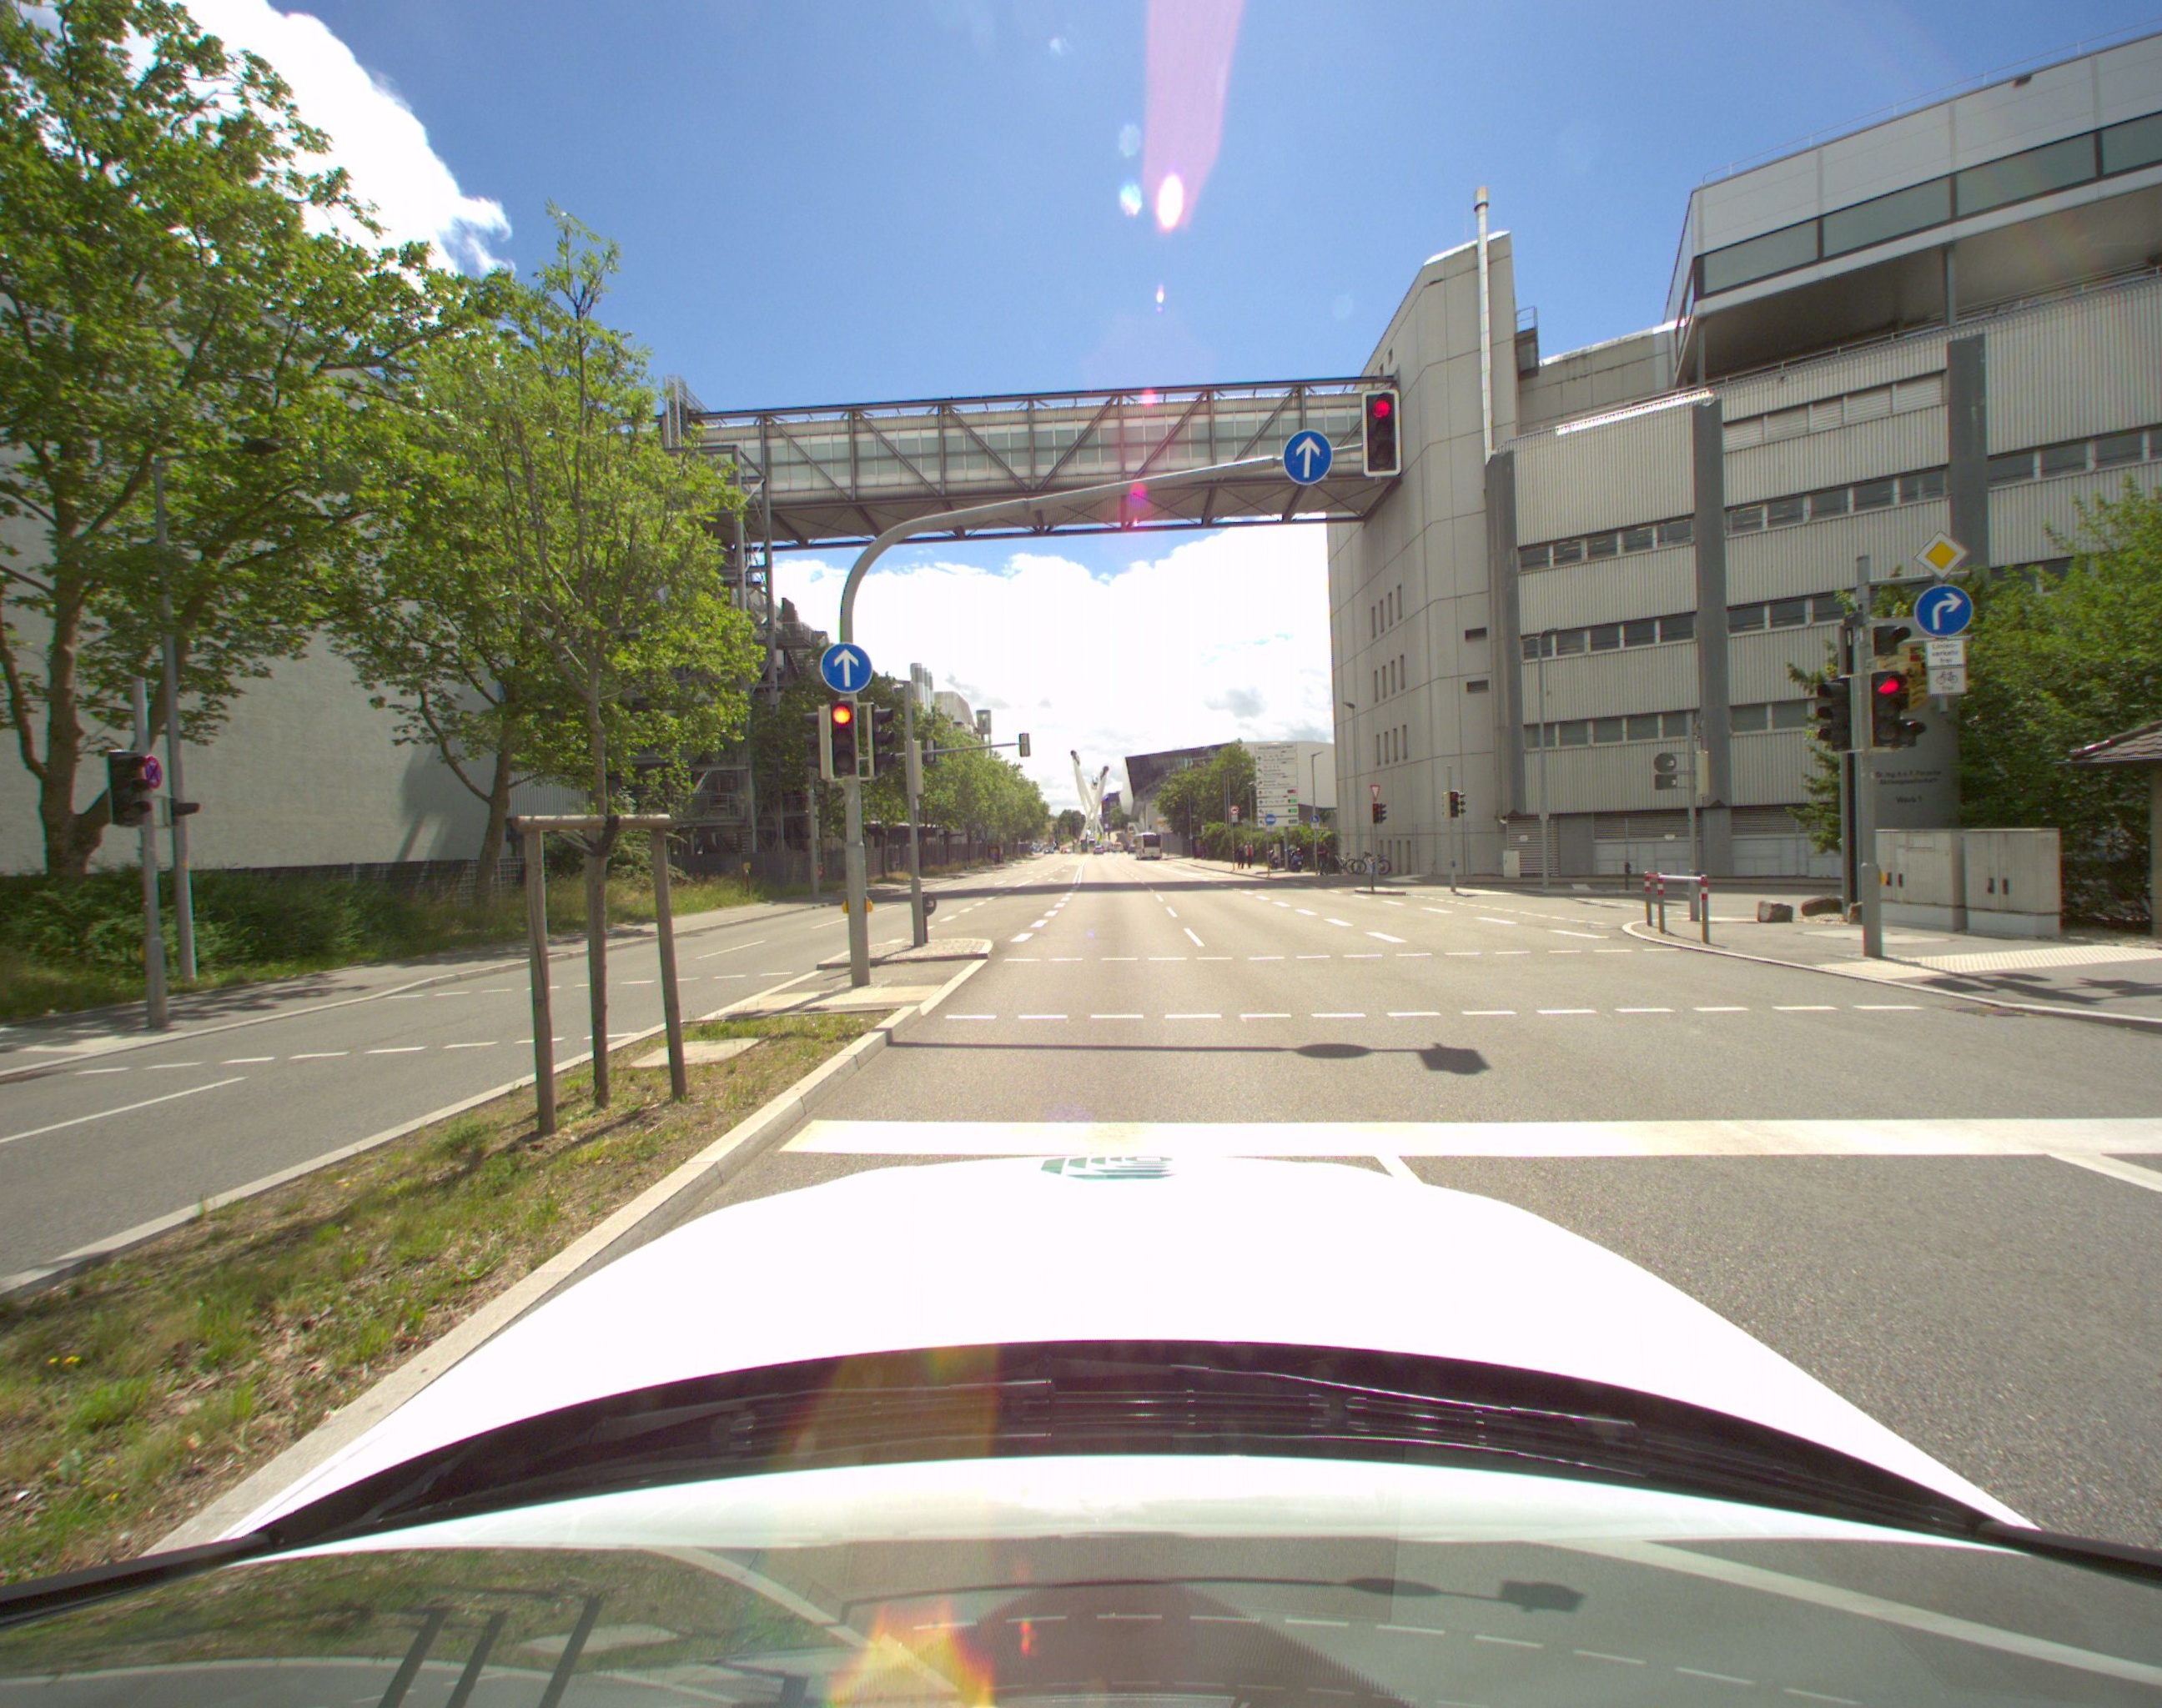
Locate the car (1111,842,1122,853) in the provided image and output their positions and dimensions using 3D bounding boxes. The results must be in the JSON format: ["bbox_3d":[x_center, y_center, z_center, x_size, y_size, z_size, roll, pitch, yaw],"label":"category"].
[{"bbox_3d":[7.287,-1.290,165.414,1.984,2.014,4.005,-1,-1,5],"label":"car"}]

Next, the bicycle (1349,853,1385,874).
[{"bbox_3d":[13.492,0.452,38.500,0.399,0.937,1.913,-1,0,-24],"label":"bicycle"}]

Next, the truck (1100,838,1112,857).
[{"bbox_3d":[5.318,-1.385,172.259,2.383,3.897,6.180,-1,0,2],"label":"truck"}]

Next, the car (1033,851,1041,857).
[{"bbox_3d":[-11.769,0.061,215.985,1.813,1.537,3.678,-3,0,0],"label":"car"}]

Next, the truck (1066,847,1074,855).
[{"bbox_3d":[-2.310,-0.616,174.039,1.580,1.537,3.673,-1,0,-4],"label":"truck"}]

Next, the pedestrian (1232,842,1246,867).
[{"bbox_3d":[10.674,0.029,55.073,0.817,1.707,0.881,-1,0,1],"label":"pedestrian"}]

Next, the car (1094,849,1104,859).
[{"bbox_3d":[3.283,-0.080,147.962,1.732,1.741,3.693,-1,0,2],"label":"car"}]

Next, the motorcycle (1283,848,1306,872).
[{"bbox_3d":[11.716,0.313,44.758,0.703,1.203,2.025,-3,1,2],"label":"motorcycle"}]

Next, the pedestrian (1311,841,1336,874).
[{"bbox_3d":[11.863,0.169,39.851,0.839,1.624,0.962,-1,0,43],"label":"pedestrian"}]

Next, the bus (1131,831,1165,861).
[{"bbox_3d":[8.402,-0.974,102.886,3.441,3.543,10.606,-1,0,0],"label":"bus"}]

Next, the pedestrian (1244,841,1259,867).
[{"bbox_3d":[11.506,-0.001,54.912,0.817,1.741,0.637,-1,0,1],"label":"pedestrian"}]

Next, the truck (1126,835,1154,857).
[{"bbox_3d":[12.535,-1.644,171.629,3.424,4.391,9.466,-1,0,19],"label":"truck"}]

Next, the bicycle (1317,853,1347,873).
[{"bbox_3d":[12.549,0.452,40.812,0.398,0.937,1.917,-1,0,-17],"label":"bicycle"}]

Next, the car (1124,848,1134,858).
[{"bbox_3d":[8.674,-0.153,147.258,1.732,1.741,3.693,-1,0,2],"label":"car"}]

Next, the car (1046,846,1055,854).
[{"bbox_3d":[-6.934,-0.889,185.739,1.814,1.537,3.675,-3,0,-2],"label":"car"}]

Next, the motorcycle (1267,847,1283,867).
[{"bbox_3d":[12.539,0.196,52.604,0.572,1.203,2.025,-3,1,2],"label":"motorcycle"}]
